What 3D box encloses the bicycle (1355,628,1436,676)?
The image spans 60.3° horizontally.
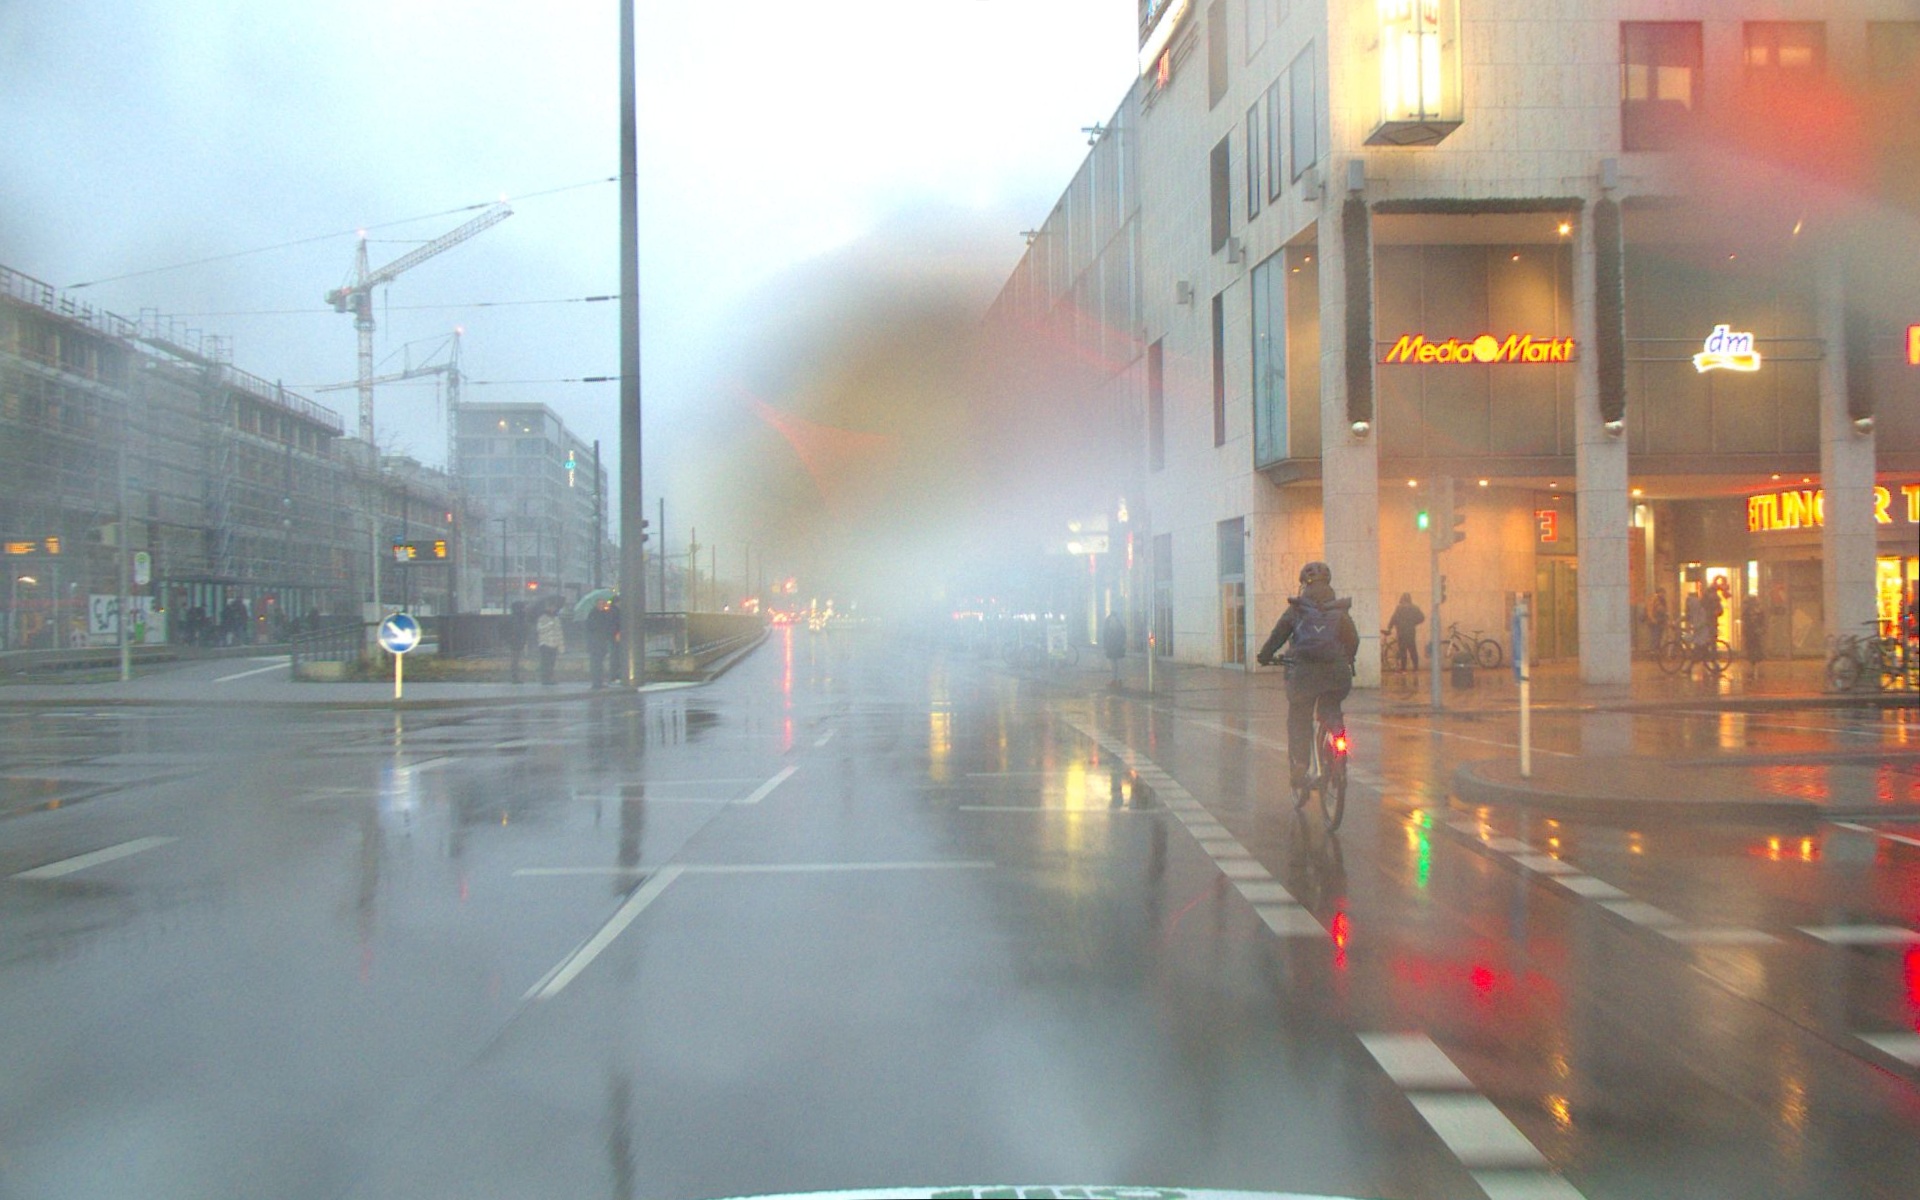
[{"bbox_3d":[9.971,1.188,37.865,1.735,1.088,0.523,1,-1,-11],"label":"bicycle"}]

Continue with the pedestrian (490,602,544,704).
[{"bbox_3d":[-9.013,1.072,33.644,0.771,2.049,0.724,0,-1,39],"label":"pedestrian"}]

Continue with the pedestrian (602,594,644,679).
[{"bbox_3d":[-6.902,0.748,33.851,0.601,1.715,0.575,0,-1,39],"label":"pedestrian"}]

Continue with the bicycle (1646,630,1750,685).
[{"bbox_3d":[15.614,1.216,35.037,1.919,1.105,0.927,-1,0,19],"label":"bicycle"}]

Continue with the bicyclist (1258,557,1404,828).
[{"bbox_3d":[2.418,0.577,10.878,0.689,1.689,0.964,-1,0,-3],"label":"bicyclist"}]

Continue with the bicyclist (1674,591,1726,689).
[{"bbox_3d":[15.657,0.843,35.030,0.903,2.049,0.907,-1,0,20],"label":"bicyclist"}]

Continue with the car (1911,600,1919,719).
[{"bbox_3d":[15.267,0.844,22.188,3.906,1.646,1.999,1,-1,-2],"label":"car"}]

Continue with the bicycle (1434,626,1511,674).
[{"bbox_3d":[11.783,1.143,38.041,1.615,1.088,0.524,1,-1,-7],"label":"bicycle"}]

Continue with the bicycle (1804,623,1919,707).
[{"bbox_3d":[16.126,1.108,28.575,2.660,1.383,0.956,-1,-1,-7],"label":"bicycle"}]

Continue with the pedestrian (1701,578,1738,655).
[{"bbox_3d":[17.555,0.384,38.250,0.720,1.748,0.738,-2,-1,25],"label":"pedestrian"}]

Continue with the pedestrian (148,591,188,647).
[{"bbox_3d":[-29.168,0.694,60.918,0.922,2.049,1.094,1,-1,1],"label":"pedestrian"}]

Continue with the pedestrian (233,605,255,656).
[{"bbox_3d":[-28.555,1.213,65.938,0.559,2.002,0.664,2,-1,-9],"label":"pedestrian"}]

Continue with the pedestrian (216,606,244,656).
[{"bbox_3d":[-28.523,1.230,64.629,0.750,1.931,0.762,1,-2,-3],"label":"pedestrian"}]

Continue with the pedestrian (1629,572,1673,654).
[{"bbox_3d":[17.490,0.323,41.855,0.828,2.049,0.698,-1,0,6],"label":"pedestrian"}]

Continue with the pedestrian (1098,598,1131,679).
[{"bbox_3d":[3.361,0.839,36.019,0.624,1.739,0.573,-1,-1,-4],"label":"pedestrian"}]

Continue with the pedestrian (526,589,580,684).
[{"bbox_3d":[-8.090,0.720,32.851,0.814,1.864,0.777,1,-1,-33],"label":"pedestrian"}]

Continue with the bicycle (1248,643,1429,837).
[{"bbox_3d":[2.430,0.862,10.823,0.694,1.113,1.783,0,0,-3],"label":"bicycle"}]

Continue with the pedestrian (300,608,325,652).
[{"bbox_3d":[-30.598,1.423,78.192,0.926,2.049,1.090,1,-1,-14],"label":"pedestrian"}]

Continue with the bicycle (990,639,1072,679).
[{"bbox_3d":[2.104,1.762,49.219,2.378,1.118,0.711,-1,-1,-5],"label":"bicycle"}]

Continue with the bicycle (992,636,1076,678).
[{"bbox_3d":[2.156,1.658,48.445,2.394,1.174,0.674,-1,-1,-4],"label":"bicycle"}]

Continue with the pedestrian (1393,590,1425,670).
[{"bbox_3d":[10.038,0.670,36.982,0.587,1.775,0.525,1,-1,5],"label":"pedestrian"}]

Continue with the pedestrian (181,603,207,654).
[{"bbox_3d":[-28.853,1.060,62.303,0.684,1.914,0.553,1,-1,-4],"label":"pedestrian"}]
